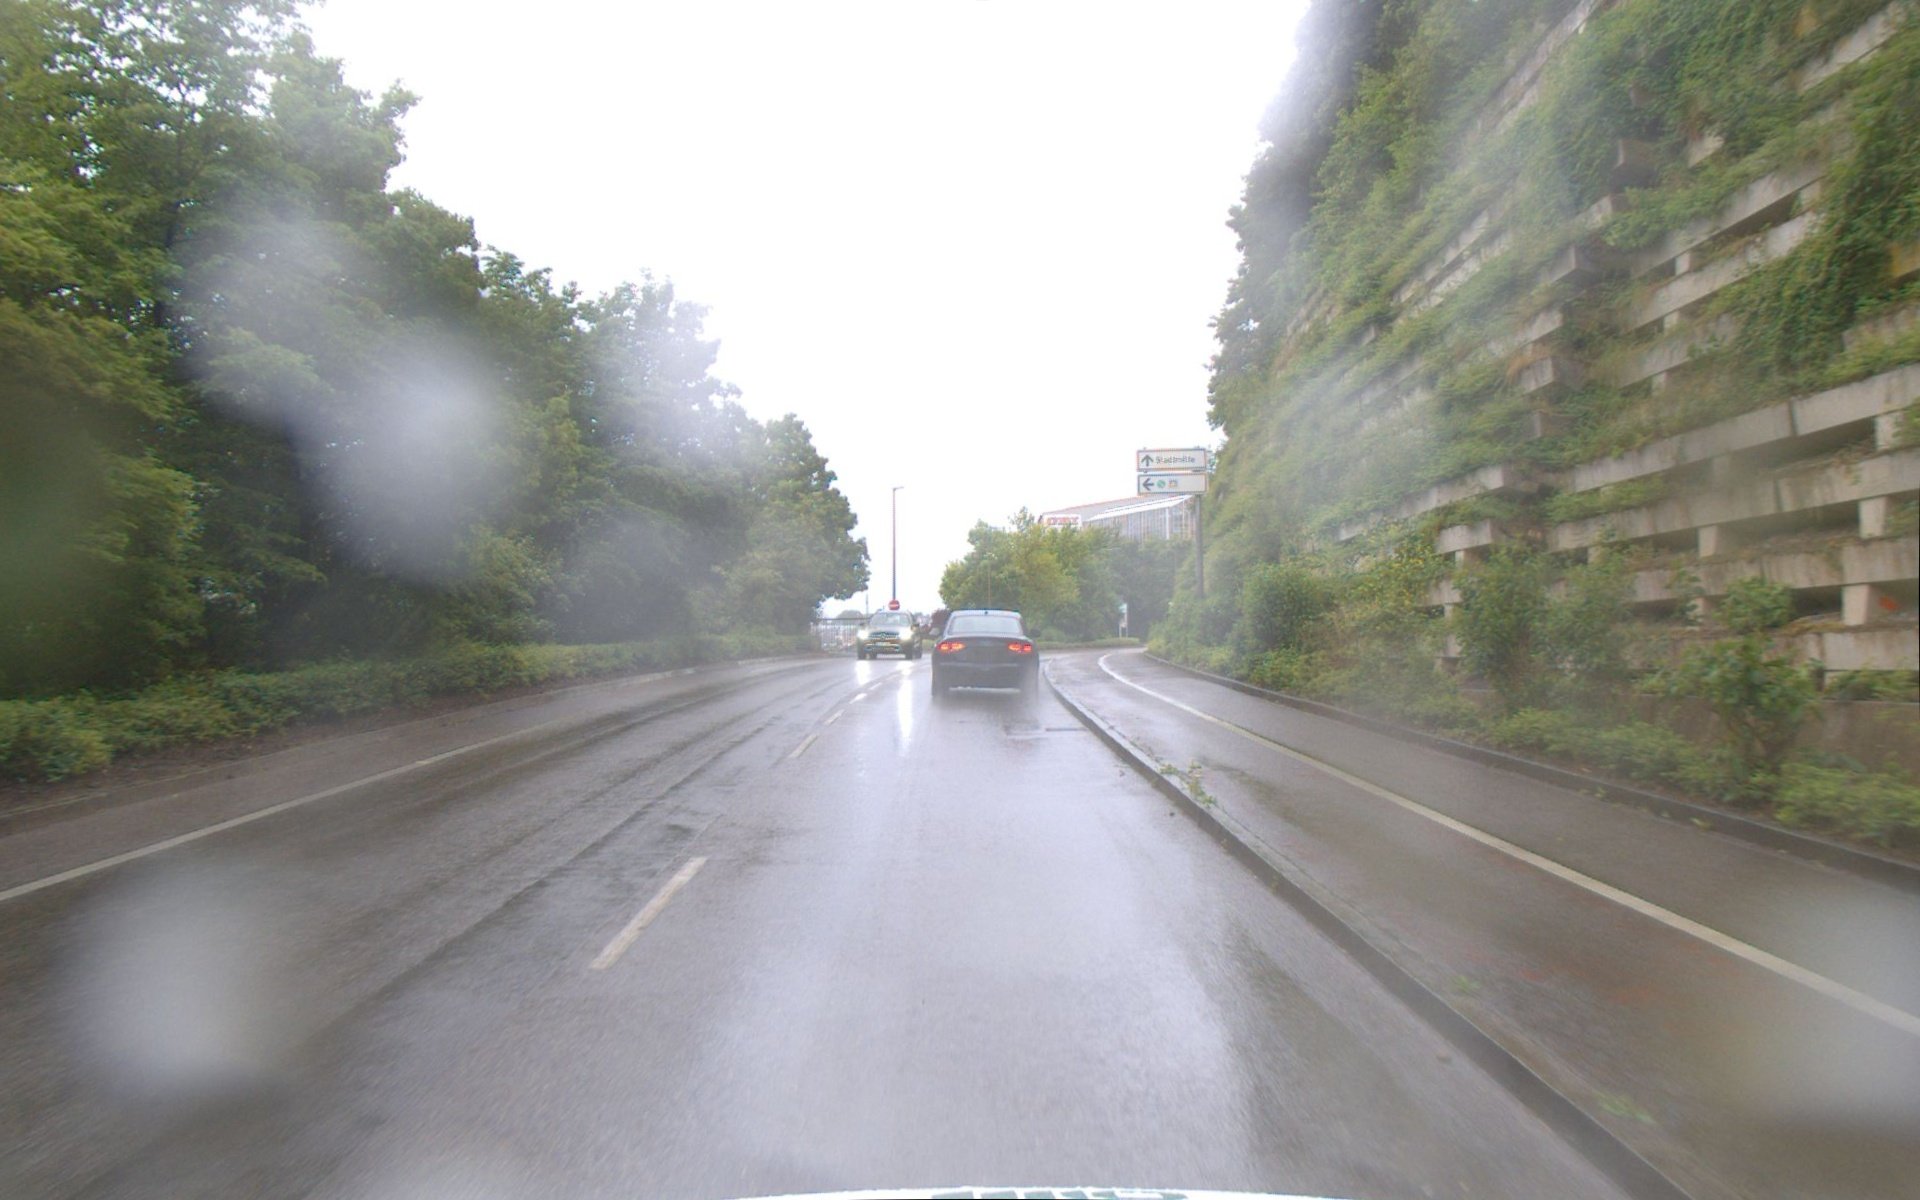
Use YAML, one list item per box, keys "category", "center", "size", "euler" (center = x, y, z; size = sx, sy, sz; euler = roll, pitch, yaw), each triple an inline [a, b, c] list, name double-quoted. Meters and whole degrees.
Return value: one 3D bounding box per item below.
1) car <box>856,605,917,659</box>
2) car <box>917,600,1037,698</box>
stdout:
- category: "car"
  center: [-2.460, 1.047, 56.207]
  size: [1.792, 1.736, 4.333]
  euler: [0, 0, 1]
- category: "car"
  center: [0.324, 0.763, 27.782]
  size: [1.853, 1.518, 4.208]
  euler: [0, 0, 2]
